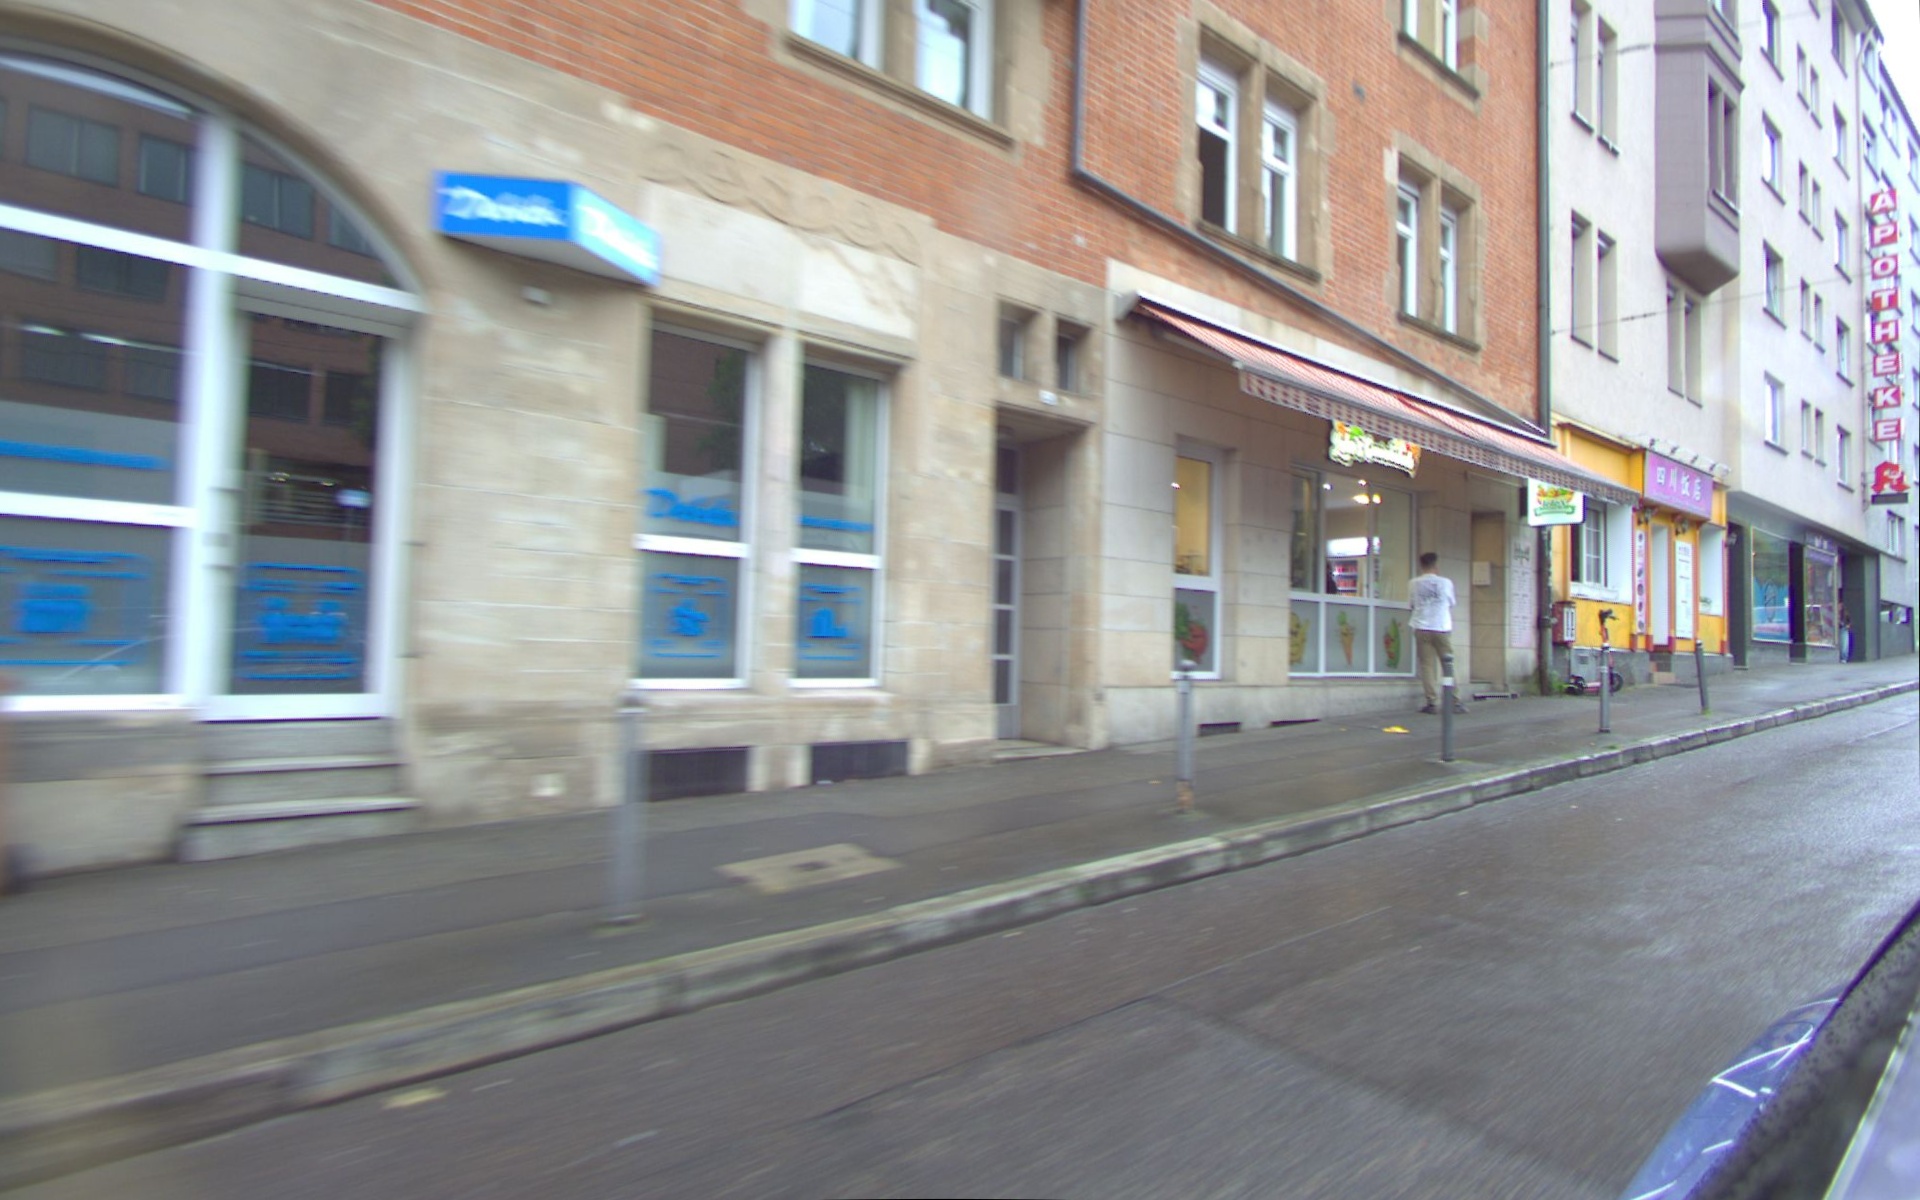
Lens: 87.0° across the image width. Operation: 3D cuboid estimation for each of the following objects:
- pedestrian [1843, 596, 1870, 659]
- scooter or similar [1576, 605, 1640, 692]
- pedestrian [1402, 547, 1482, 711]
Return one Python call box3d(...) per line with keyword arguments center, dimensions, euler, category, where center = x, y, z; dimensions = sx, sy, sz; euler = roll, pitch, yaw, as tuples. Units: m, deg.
box3d(center=(24.016, 0.723, 27.111), dimensions=(0.479, 1.666, 0.327), euler=(-1, -2, 35), category="pedestrian")
box3d(center=(9.568, 0.700, 14.935), dimensions=(1.170, 1.237, 0.258), euler=(0, -1, -29), category="scooter or similar")
box3d(center=(5.602, 0.317, 11.792), dimensions=(0.568, 1.852, 0.564), euler=(1, 2, -3), category="pedestrian")
